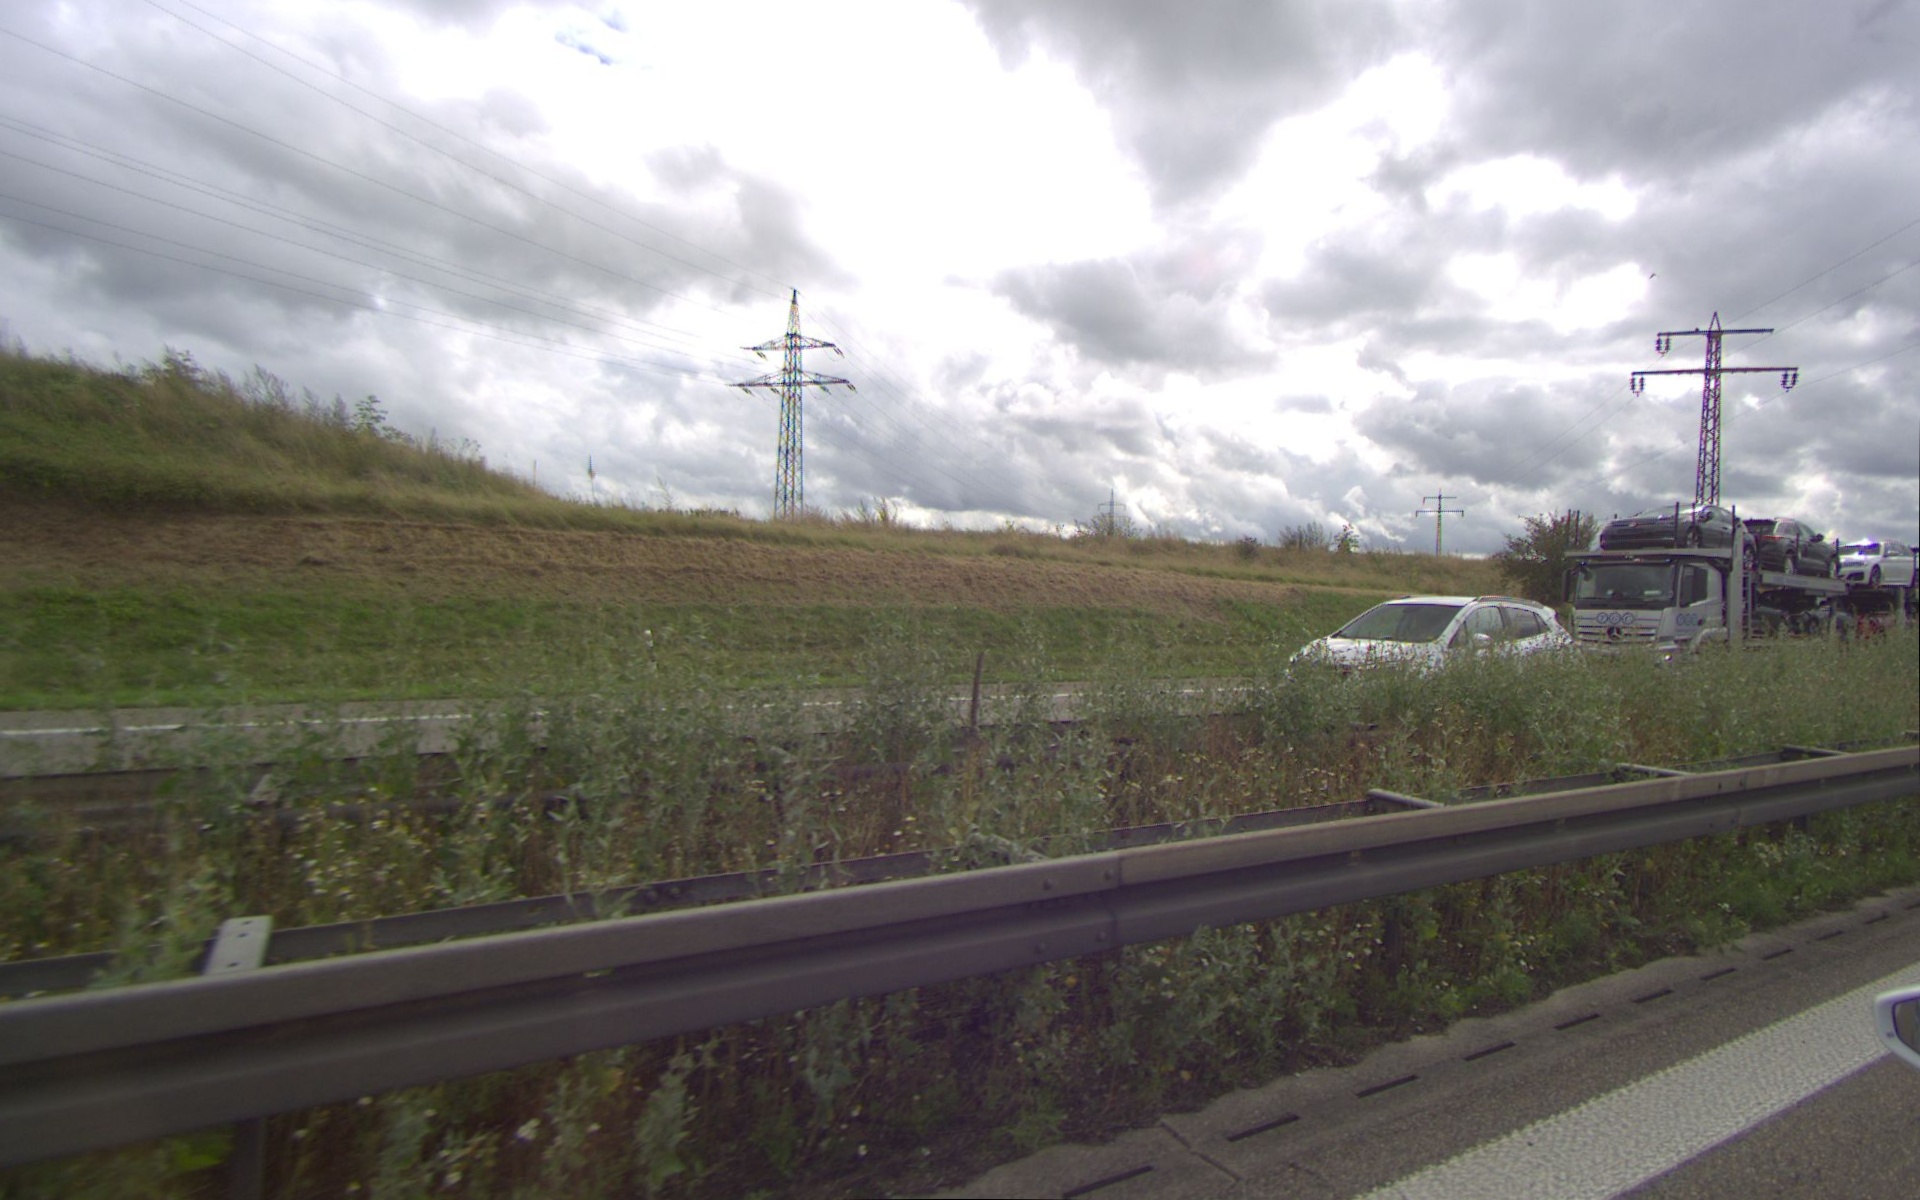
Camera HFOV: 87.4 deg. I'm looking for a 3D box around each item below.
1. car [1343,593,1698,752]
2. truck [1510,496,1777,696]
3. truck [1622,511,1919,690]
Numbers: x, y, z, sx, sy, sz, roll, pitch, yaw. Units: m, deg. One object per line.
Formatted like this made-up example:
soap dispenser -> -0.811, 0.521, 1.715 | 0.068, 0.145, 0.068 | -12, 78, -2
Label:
car -> 7.123, 0.831, 12.704 | 4.250, 1.684, 1.984 | 2, 0, -29
truck -> 15.470, -0.017, 22.674 | 5.916, 3.988, 2.710 | 1, 0, -30
truck -> 24.454, 0.190, 27.992 | 17.197, 3.988, 2.710 | 1, -1, -31
